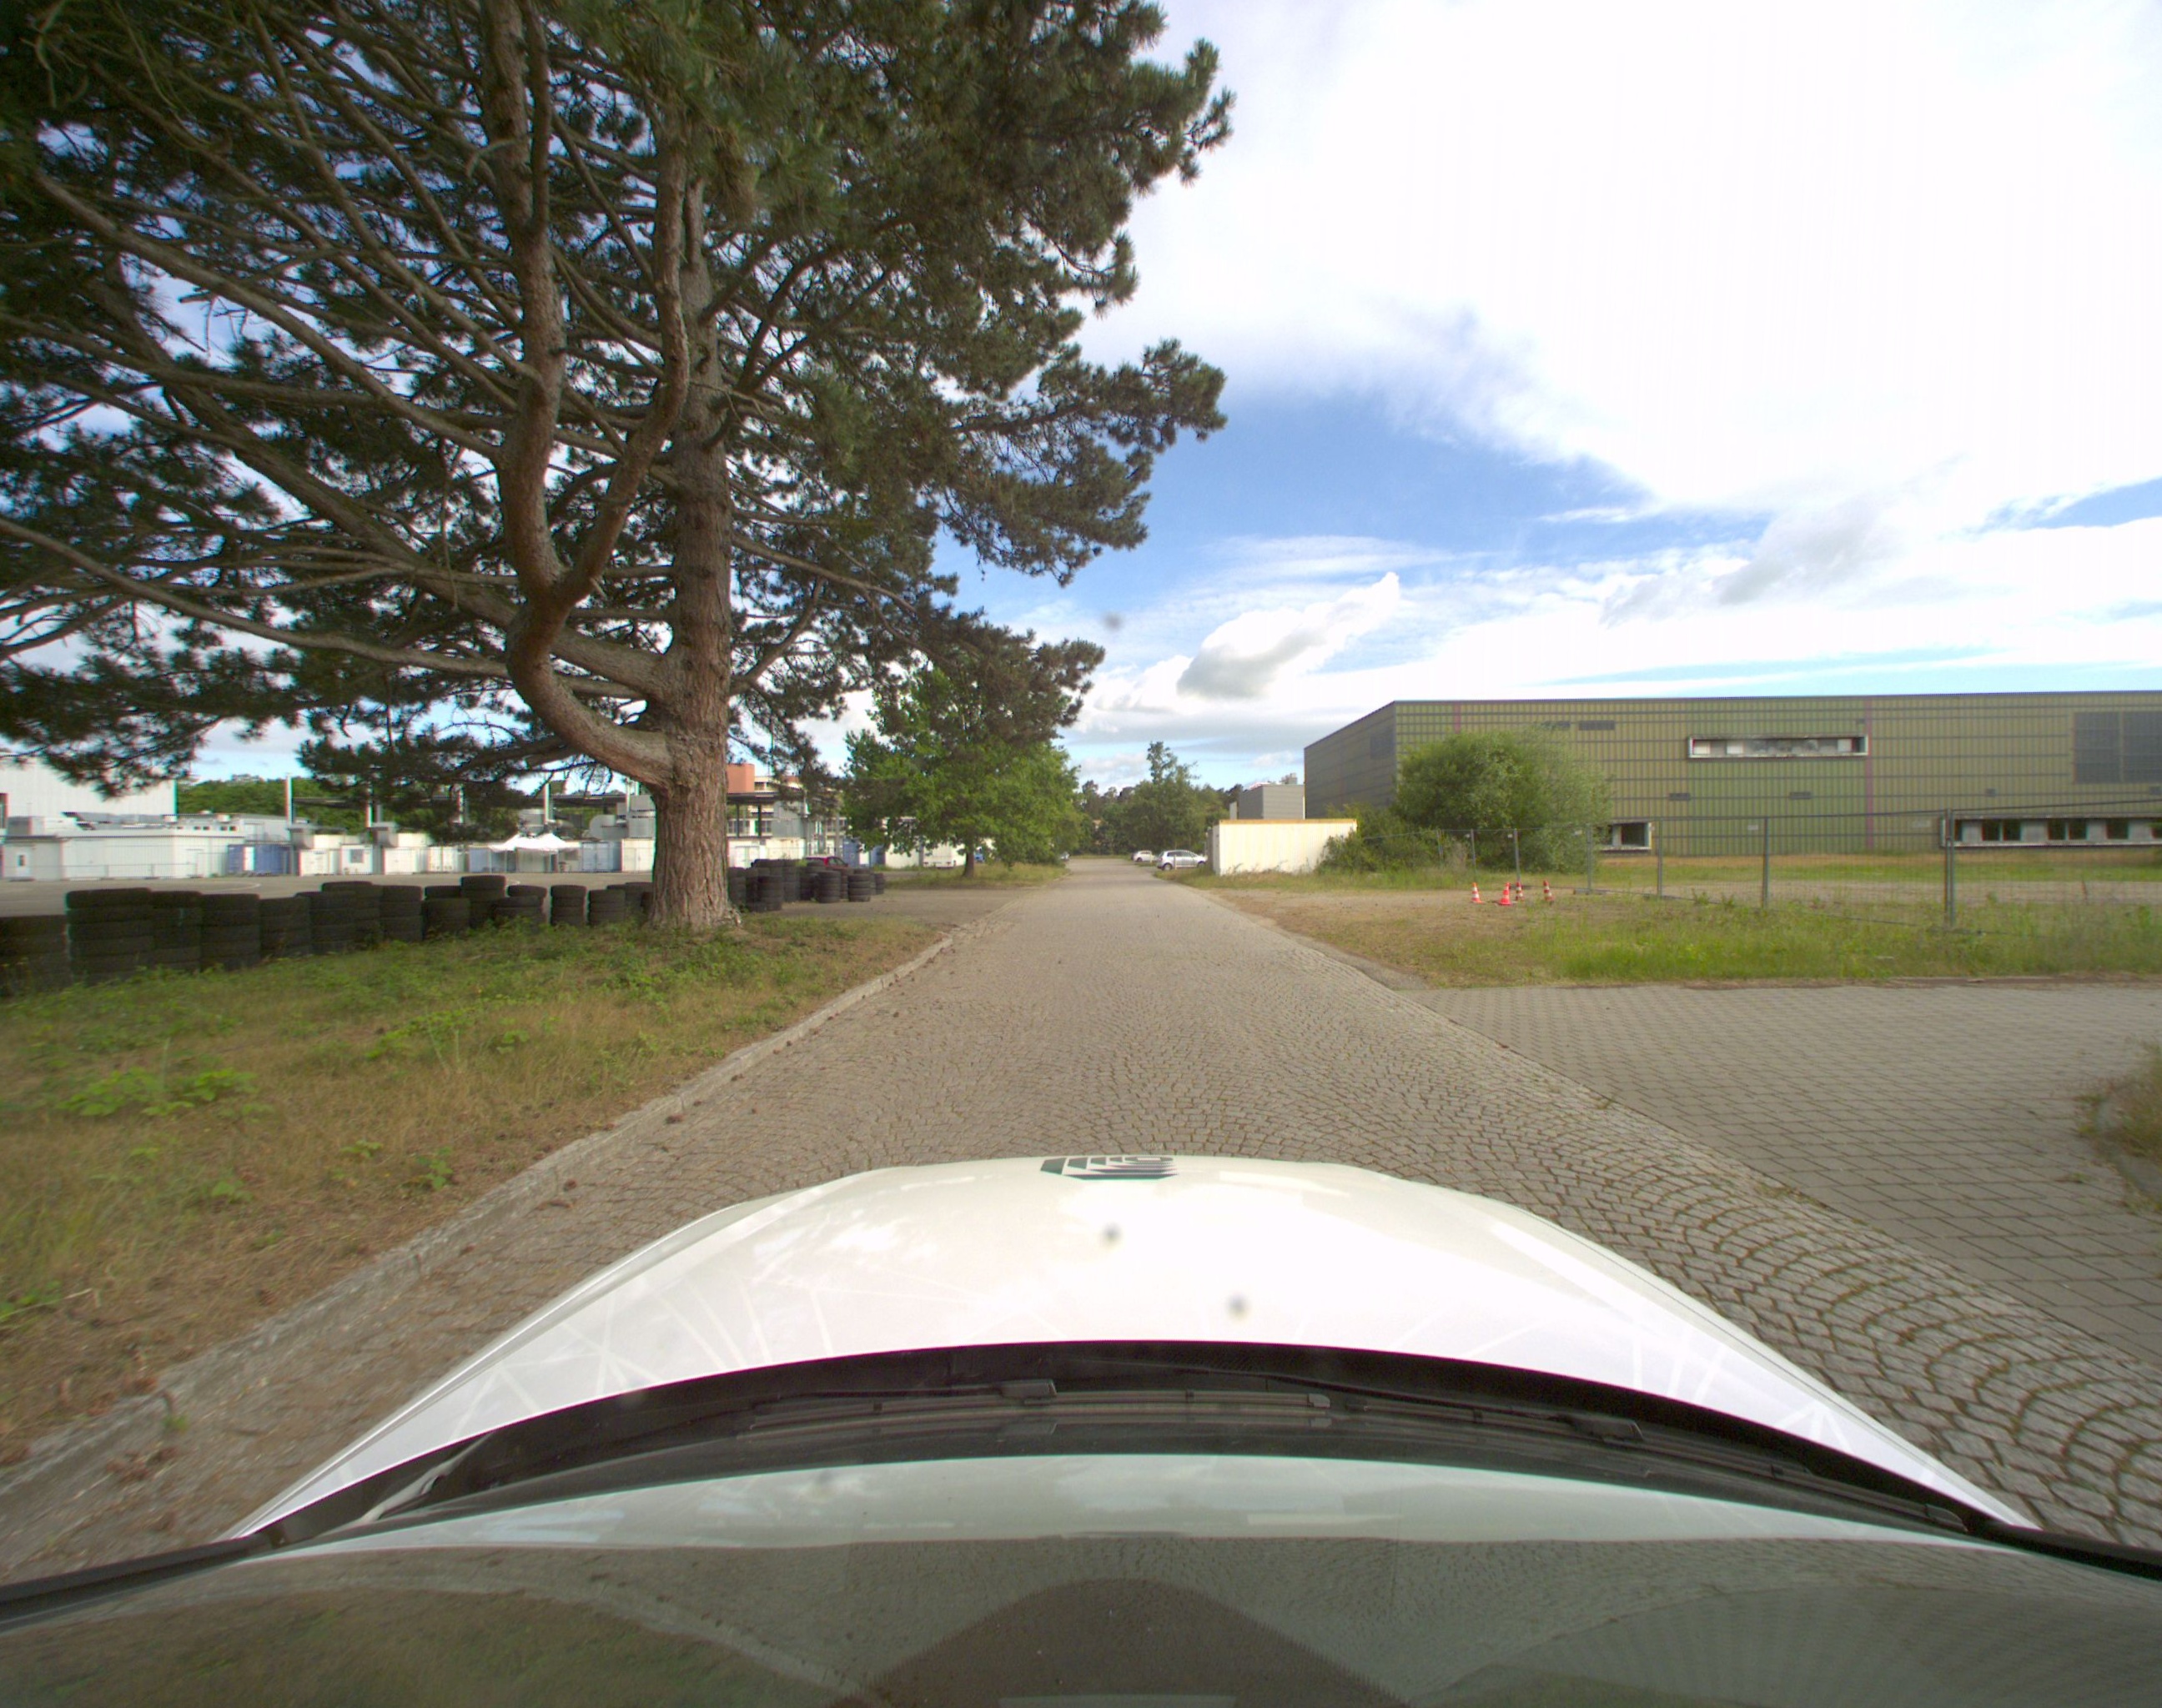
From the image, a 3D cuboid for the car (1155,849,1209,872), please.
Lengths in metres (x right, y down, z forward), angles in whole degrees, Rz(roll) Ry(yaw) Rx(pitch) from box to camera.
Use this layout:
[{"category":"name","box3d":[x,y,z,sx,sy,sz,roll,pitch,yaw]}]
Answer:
[{"category":"car","box3d":[7.585,0.463,61.587,3.839,1.654,1.685,-1,0,-2]}]

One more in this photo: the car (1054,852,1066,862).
[{"category":"car","box3d":[-3.278,0.463,126.957,1.730,1.469,4.044,-1,0,-1]}]

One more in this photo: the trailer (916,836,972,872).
[{"category":"trailer","box3d":[-12.372,-0.052,74.524,3.145,3.067,8.792,-1,0,3]}]

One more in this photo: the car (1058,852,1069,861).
[{"category":"car","box3d":[-2.931,0.430,136.313,1.798,1.535,3.998,-1,0,-1]}]

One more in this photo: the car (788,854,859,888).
[{"category":"car","box3d":[-11.634,0.746,37.049,1.757,1.453,3.495,-1,0,7]}]

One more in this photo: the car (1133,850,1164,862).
[{"category":"car","box3d":[8.947,0.221,107.737,4.009,1.502,1.549,-1,0,2]}]

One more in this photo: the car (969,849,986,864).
[{"category":"car","box3d":[-14.639,0.361,115.193,1.919,2.047,4.598,-1,0,-1]}]
